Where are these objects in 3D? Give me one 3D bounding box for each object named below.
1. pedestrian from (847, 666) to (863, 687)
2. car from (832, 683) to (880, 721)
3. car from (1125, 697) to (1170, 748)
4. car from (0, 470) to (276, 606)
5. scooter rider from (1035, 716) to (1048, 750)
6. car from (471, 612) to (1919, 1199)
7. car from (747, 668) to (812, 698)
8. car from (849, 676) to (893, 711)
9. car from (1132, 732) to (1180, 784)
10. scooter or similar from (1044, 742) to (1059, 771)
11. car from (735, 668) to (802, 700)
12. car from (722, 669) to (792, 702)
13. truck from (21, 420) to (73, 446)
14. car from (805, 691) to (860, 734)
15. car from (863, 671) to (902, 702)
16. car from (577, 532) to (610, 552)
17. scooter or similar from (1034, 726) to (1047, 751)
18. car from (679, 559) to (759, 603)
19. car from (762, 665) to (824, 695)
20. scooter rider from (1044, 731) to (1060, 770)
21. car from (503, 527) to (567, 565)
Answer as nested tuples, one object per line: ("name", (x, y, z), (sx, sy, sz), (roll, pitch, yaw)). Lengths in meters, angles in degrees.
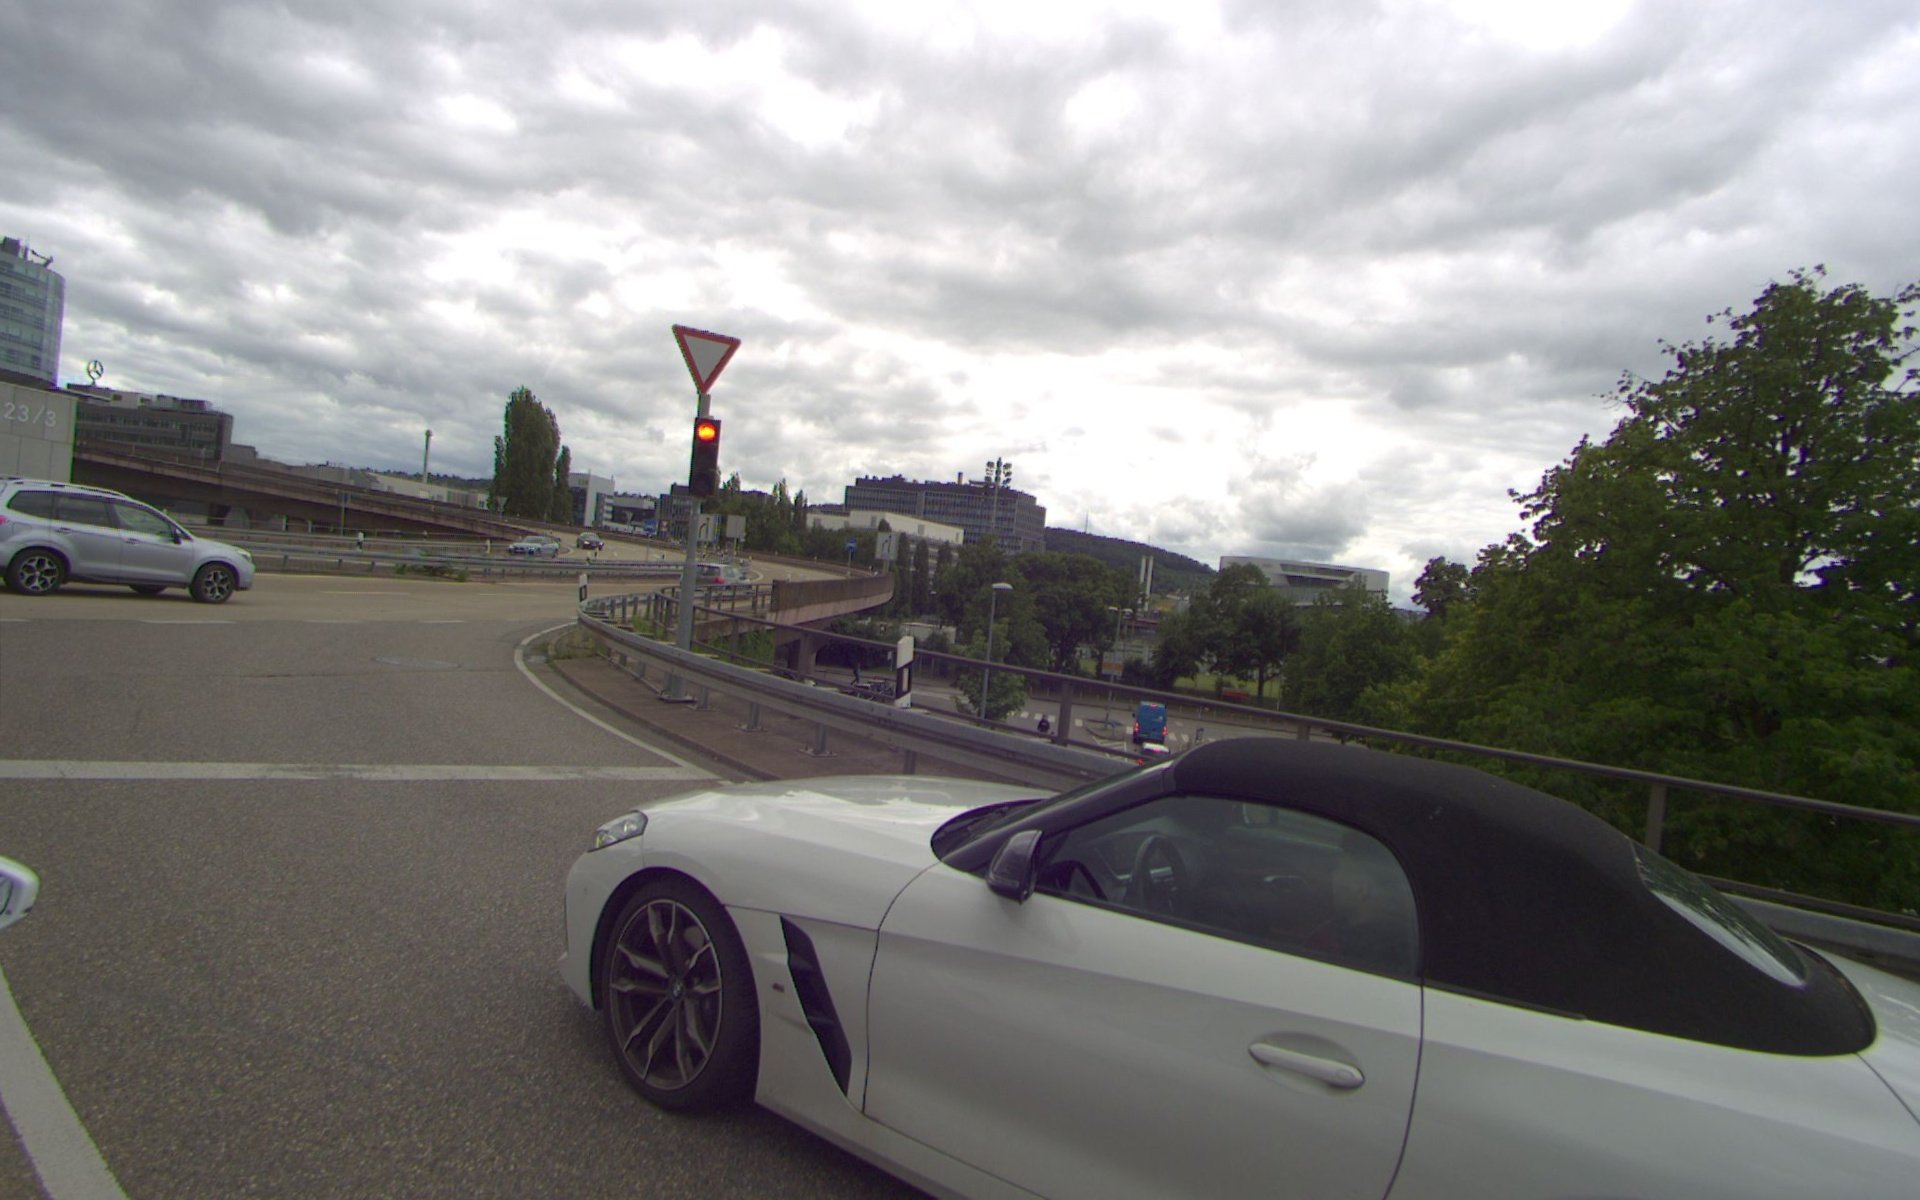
("pedestrian", (-8.045, 5.871, 77.033), (0.898, 1.514, 0.750), (8, -3, 7))
("car", (-5.921, 5.812, 57.852), (1.792, 1.553, 4.000), (8, 0, 6))
("car", (12.159, 7.940, 65.616), (1.978, 2.617, 5.398), (10, -2, 6))
("car", (-13.991, -0.984, 16.332), (1.697, 1.758, 4.557), (7, 0, 18))
("scooter rider", (4.470, 7.318, 55.251), (0.481, 1.761, 0.514), (8, 2, 8))
("car", (0.636, 0.989, 3.021), (4.194, 1.306, 1.808), (7, -2, 34))
("car", (-11.883, 5.459, 66.357), (3.792, 1.371, 1.826), (8, 1, 1))
("car", (-5.523, 5.833, 63.086), (1.792, 1.553, 4.195), (8, 0, 6))
("car", (9.911, 7.890, 50.716), (1.978, 1.883, 4.868), (10, -2, 12))
("scooter or similar", (4.431, 7.596, 48.879), (0.481, 1.199, 1.073), (8, 1, 10))
("car", (-12.186, 5.355, 64.240), (3.792, 1.371, 1.826), (8, 1, 1))
("car", (-12.459, 5.267, 61.899), (3.792, 1.371, 1.826), (8, 1, 1))
("truck", (-121.504, -22.213, 133.891), (1.968, 2.194, 4.600), (7, -4, 34))
("car", (-6.502, 5.747, 51.846), (1.792, 1.553, 4.000), (8, 0, 6))
("car", (-5.275, 5.882, 68.642), (1.792, 1.553, 4.000), (8, 0, 6))
("car", (-33.923, -5.340, 93.033), (1.899, 1.437, 3.959), (11, -3, -32))
("scooter or similar", (4.429, 7.601, 55.275), (0.481, 1.199, 1.073), (8, 1, 8))
("car", (-9.847, -0.725, 41.470), (1.697, 1.480, 4.245), (7, 0, 7))
("car", (-11.467, 5.487, 69.138), (3.792, 1.371, 1.826), (8, 1, 1))
("scooter rider", (4.479, 7.311, 48.849), (0.481, 1.776, 0.548), (8, 2, 10))
("car", (-28.662, -3.600, 68.041), (1.880, 1.679, 4.756), (9, -4, 4))
